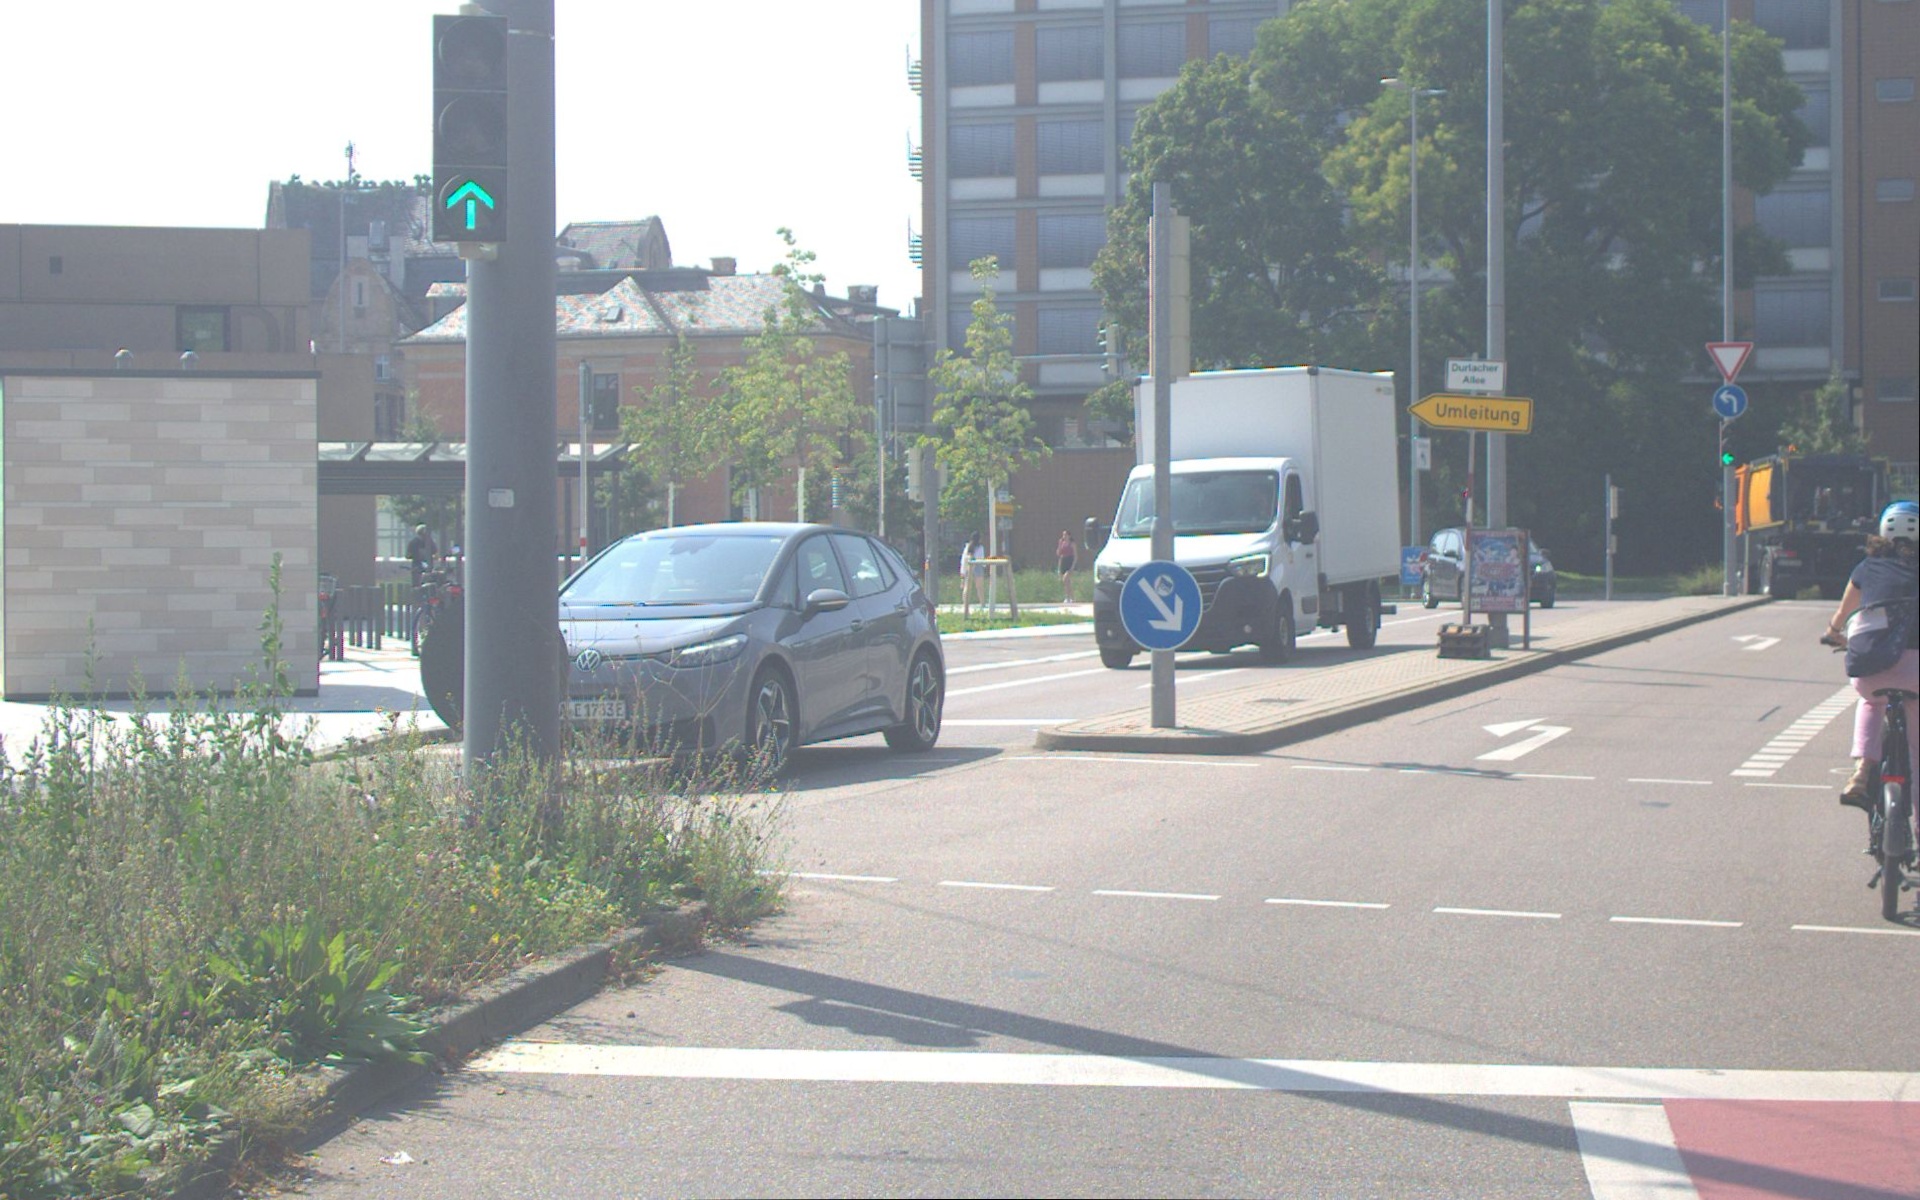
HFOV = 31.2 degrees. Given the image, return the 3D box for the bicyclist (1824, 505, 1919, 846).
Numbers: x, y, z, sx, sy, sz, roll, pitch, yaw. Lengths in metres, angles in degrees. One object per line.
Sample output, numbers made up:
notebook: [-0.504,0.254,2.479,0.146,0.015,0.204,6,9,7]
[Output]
bicyclist: [3.782,0.288,13.748,0.603,1.330,0.659,0,1,11]

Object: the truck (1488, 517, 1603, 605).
truck: [10.336,-0.707,60.529,1.556,1.499,3.618,0,1,17]

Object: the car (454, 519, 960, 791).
car: [-1.454,0.265,21.513,1.698,1.525,4.179,0,1,18]

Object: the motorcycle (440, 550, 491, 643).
motorcycle: [-6.641,-0.068,46.224,0.604,1.206,2.254,0,1,-6]

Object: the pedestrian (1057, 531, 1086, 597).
pedestrian: [2.603,-0.851,80.564,0.529,1.547,0.417,-1,1,-28]

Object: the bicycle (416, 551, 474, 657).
bicycle: [-6.086,0.032,40.659,0.604,1.206,1.811,0,1,-6]

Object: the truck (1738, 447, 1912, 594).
truck: [18.287,-1.666,73.017,2.697,2.979,5.965,0,1,5]

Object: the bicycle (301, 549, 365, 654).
bicycle: [-7.386,0.005,40.563,0.604,1.206,1.811,0,1,-6]

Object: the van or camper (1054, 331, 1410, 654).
van or camper: [3.241,-1.174,38.965,2.402,3.295,7.184,0,1,18]

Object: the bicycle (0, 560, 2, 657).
bicycle: [-11.273,0.084,39.590,0.464,1.096,1.423,0,1,-15]

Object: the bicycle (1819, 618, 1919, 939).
bicycle: [3.795,0.675,13.779,0.604,1.159,1.810,0,1,12]

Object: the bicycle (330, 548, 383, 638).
bicycle: [-8.408,-0.110,47.917,0.604,1.206,1.811,0,1,-6]
